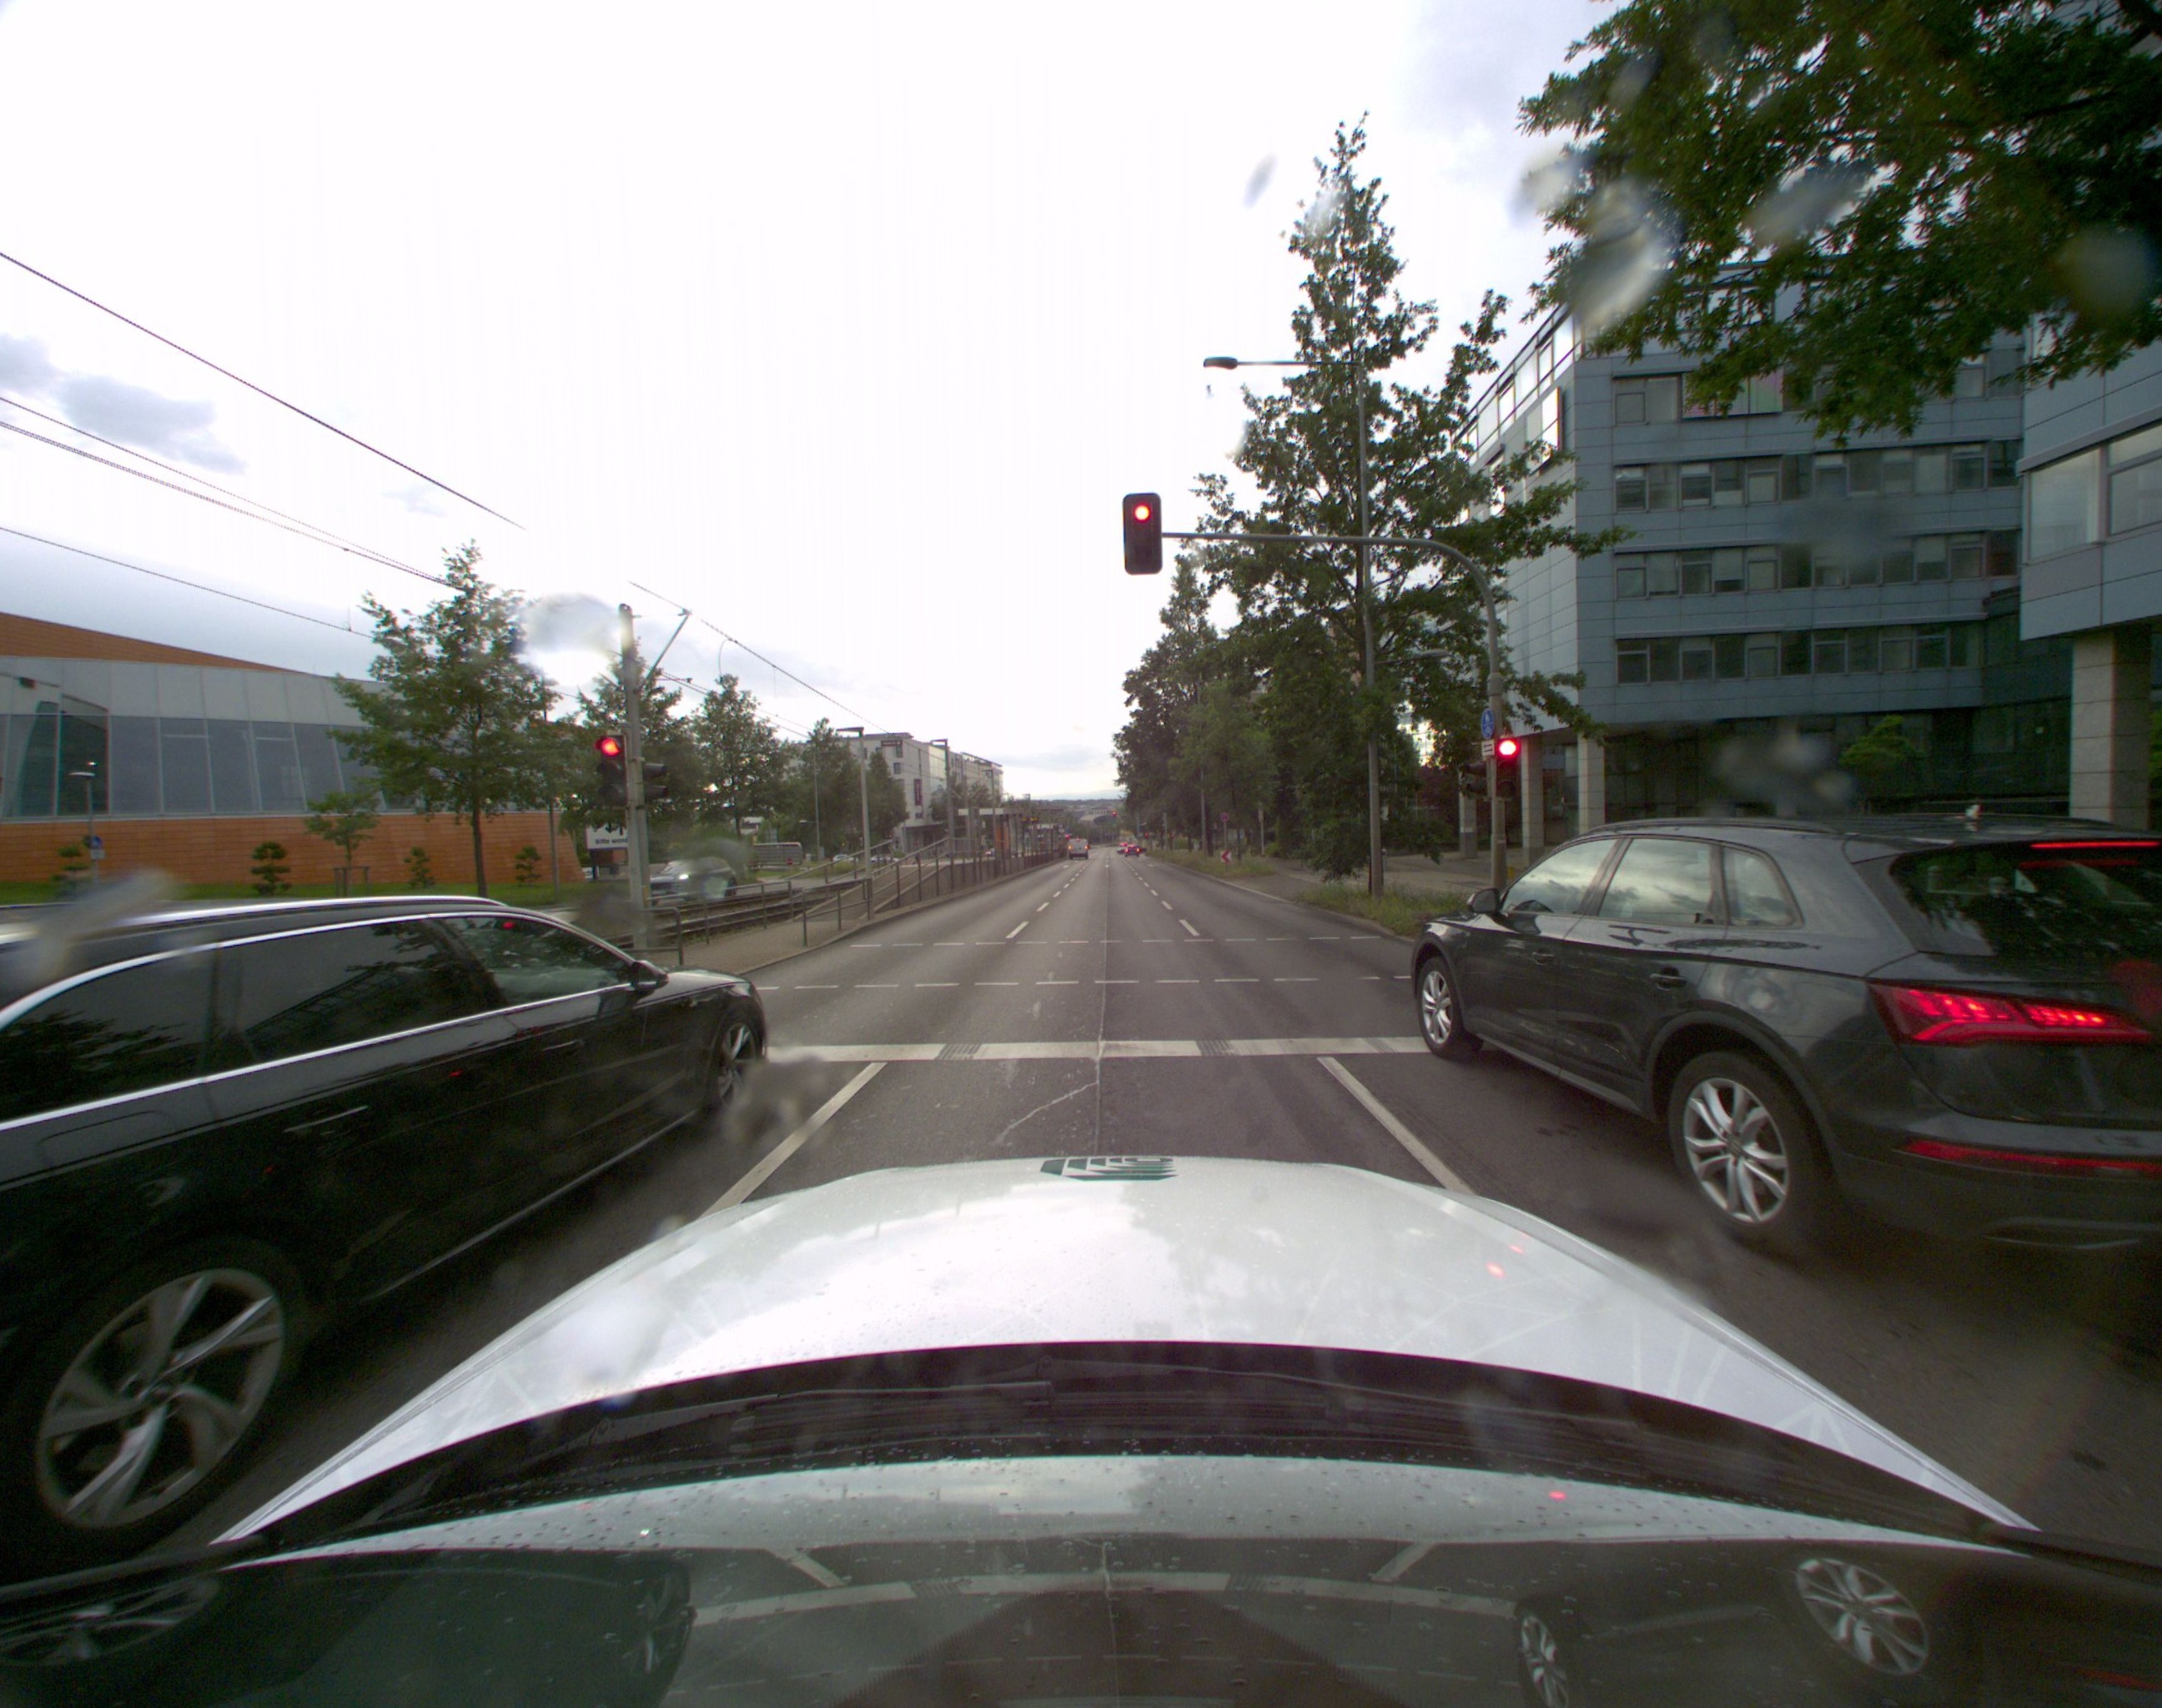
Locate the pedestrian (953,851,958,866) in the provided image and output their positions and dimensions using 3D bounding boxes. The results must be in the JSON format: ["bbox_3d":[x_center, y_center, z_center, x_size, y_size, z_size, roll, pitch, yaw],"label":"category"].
[{"bbox_3d":[-16.561,0.604,107.562,0.473,1.920,0.490,-1,0,1],"label":"pedestrian"}]

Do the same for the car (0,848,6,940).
[{"bbox_3d":[-32.782,1.095,21.058,5.616,2.581,2.393,1,0,-16],"label":"car"}]

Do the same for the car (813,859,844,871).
[{"bbox_3d":[-30.840,1.290,99.577,3.341,1.387,1.440,-1,1,18],"label":"car"}]

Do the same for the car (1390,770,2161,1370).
[{"bbox_3d":[3.387,0.552,4.430,1.811,1.612,4.472,-1,0,2],"label":"car"}]

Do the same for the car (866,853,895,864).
[{"bbox_3d":[-29.973,0.707,121.886,3.854,1.436,1.656,-4,0,0],"label":"car"}]

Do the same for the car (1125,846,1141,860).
[{"bbox_3d":[6.528,-0.143,102.625,1.767,1.691,3.847,-1,0,2],"label":"car"}]

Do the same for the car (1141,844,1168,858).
[{"bbox_3d":[11.479,-0.471,127.529,3.982,2.013,1.756,-2,0,-7],"label":"car"}]

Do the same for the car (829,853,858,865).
[{"bbox_3d":[-36.325,0.762,124.538,4.093,1.436,1.648,-4,0,-13],"label":"car"}]

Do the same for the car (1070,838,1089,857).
[{"bbox_3d":[-0.143,-0.693,91.955,2.086,2.053,4.607,-1,0,1],"label":"car"}]

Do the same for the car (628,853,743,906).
[{"bbox_3d":[-15.131,0.910,31.527,1.987,1.719,4.840,-3,0,0],"label":"car"}]

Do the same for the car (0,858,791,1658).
[{"bbox_3d":[-2.904,0.797,3.187,1.774,1.466,4.515,-1,0,2],"label":"car"}]
